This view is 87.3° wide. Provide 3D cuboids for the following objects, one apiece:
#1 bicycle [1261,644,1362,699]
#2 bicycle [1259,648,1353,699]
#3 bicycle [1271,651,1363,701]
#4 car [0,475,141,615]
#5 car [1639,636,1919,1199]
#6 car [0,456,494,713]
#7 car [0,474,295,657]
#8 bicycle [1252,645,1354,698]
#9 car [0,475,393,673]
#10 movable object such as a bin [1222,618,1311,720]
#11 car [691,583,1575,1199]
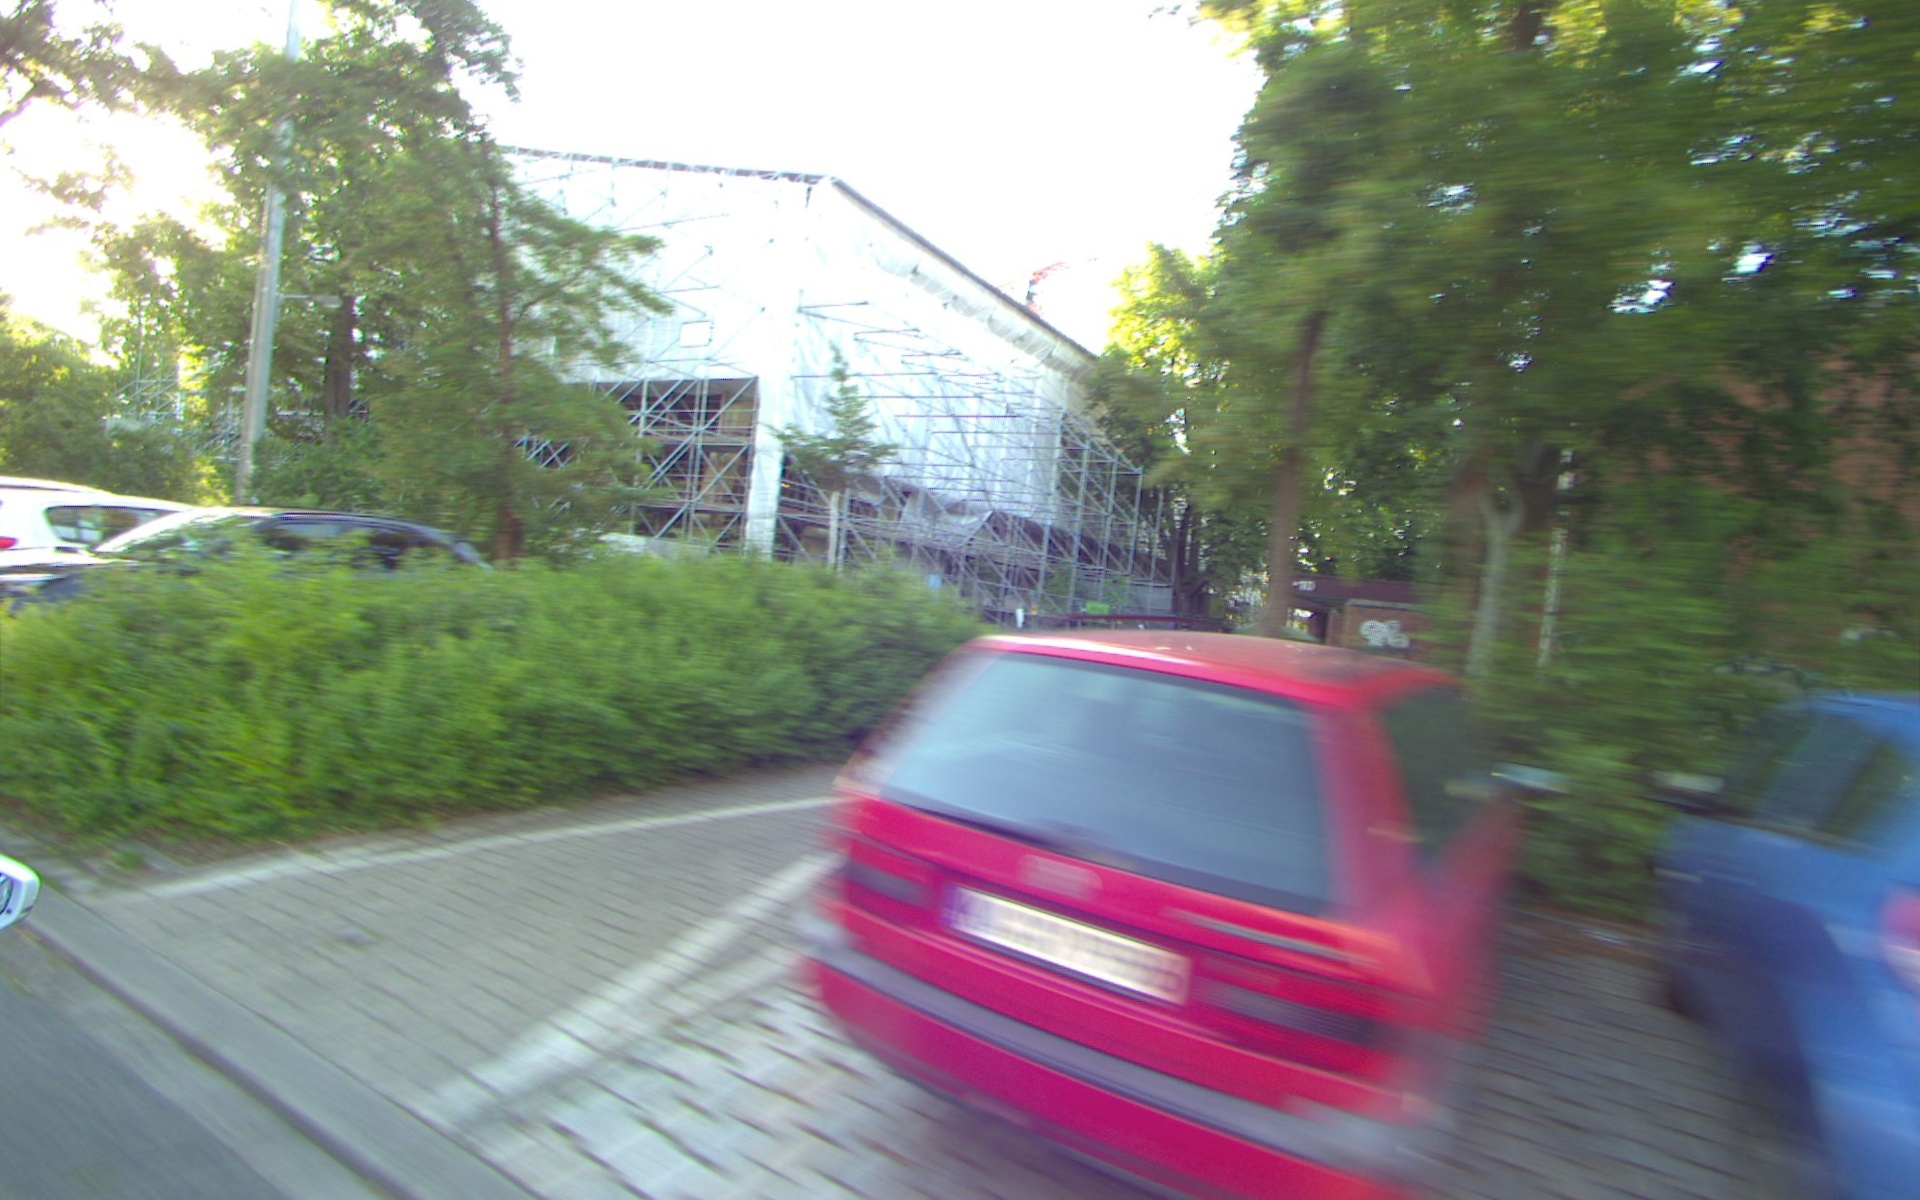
[{"bbox_3d":[9.341,1.895,26.788,2.349,1.153,0.647,6,1,33],"label":"bicycle"},{"bbox_3d":[9.820,2.077,28.584,2.349,1.153,0.647,6,1,33],"label":"bicycle"},{"bbox_3d":[10.405,2.210,29.374,2.349,1.153,0.647,6,1,33],"label":"bicycle"},{"bbox_3d":[-13.741,-0.905,13.229,1.838,1.730,4.172,6,-1,36],"label":"car"},{"bbox_3d":[3.346,1.003,3.115,1.713,1.576,3.712,6,2,31],"label":"car"},{"bbox_3d":[-6.011,-0.079,8.070,1.668,1.614,3.750,7,0,30],"label":"car"},{"bbox_3d":[-9.853,-0.407,10.770,1.694,1.687,4.129,6,-2,32],"label":"car"},{"bbox_3d":[8.879,1.835,26.102,2.349,1.058,0.647,6,1,33],"label":"bicycle"},{"bbox_3d":[-7.763,-0.207,9.600,1.788,1.586,3.593,7,0,31],"label":"car"},{"bbox_3d":[4.851,1.081,15.889,0.969,1.457,0.962,7,1,35],"label":"movable object such as a bin"},{"bbox_3d":[1.253,0.847,3.906,1.713,1.495,4.337,7,3,32],"label":"car"}]
